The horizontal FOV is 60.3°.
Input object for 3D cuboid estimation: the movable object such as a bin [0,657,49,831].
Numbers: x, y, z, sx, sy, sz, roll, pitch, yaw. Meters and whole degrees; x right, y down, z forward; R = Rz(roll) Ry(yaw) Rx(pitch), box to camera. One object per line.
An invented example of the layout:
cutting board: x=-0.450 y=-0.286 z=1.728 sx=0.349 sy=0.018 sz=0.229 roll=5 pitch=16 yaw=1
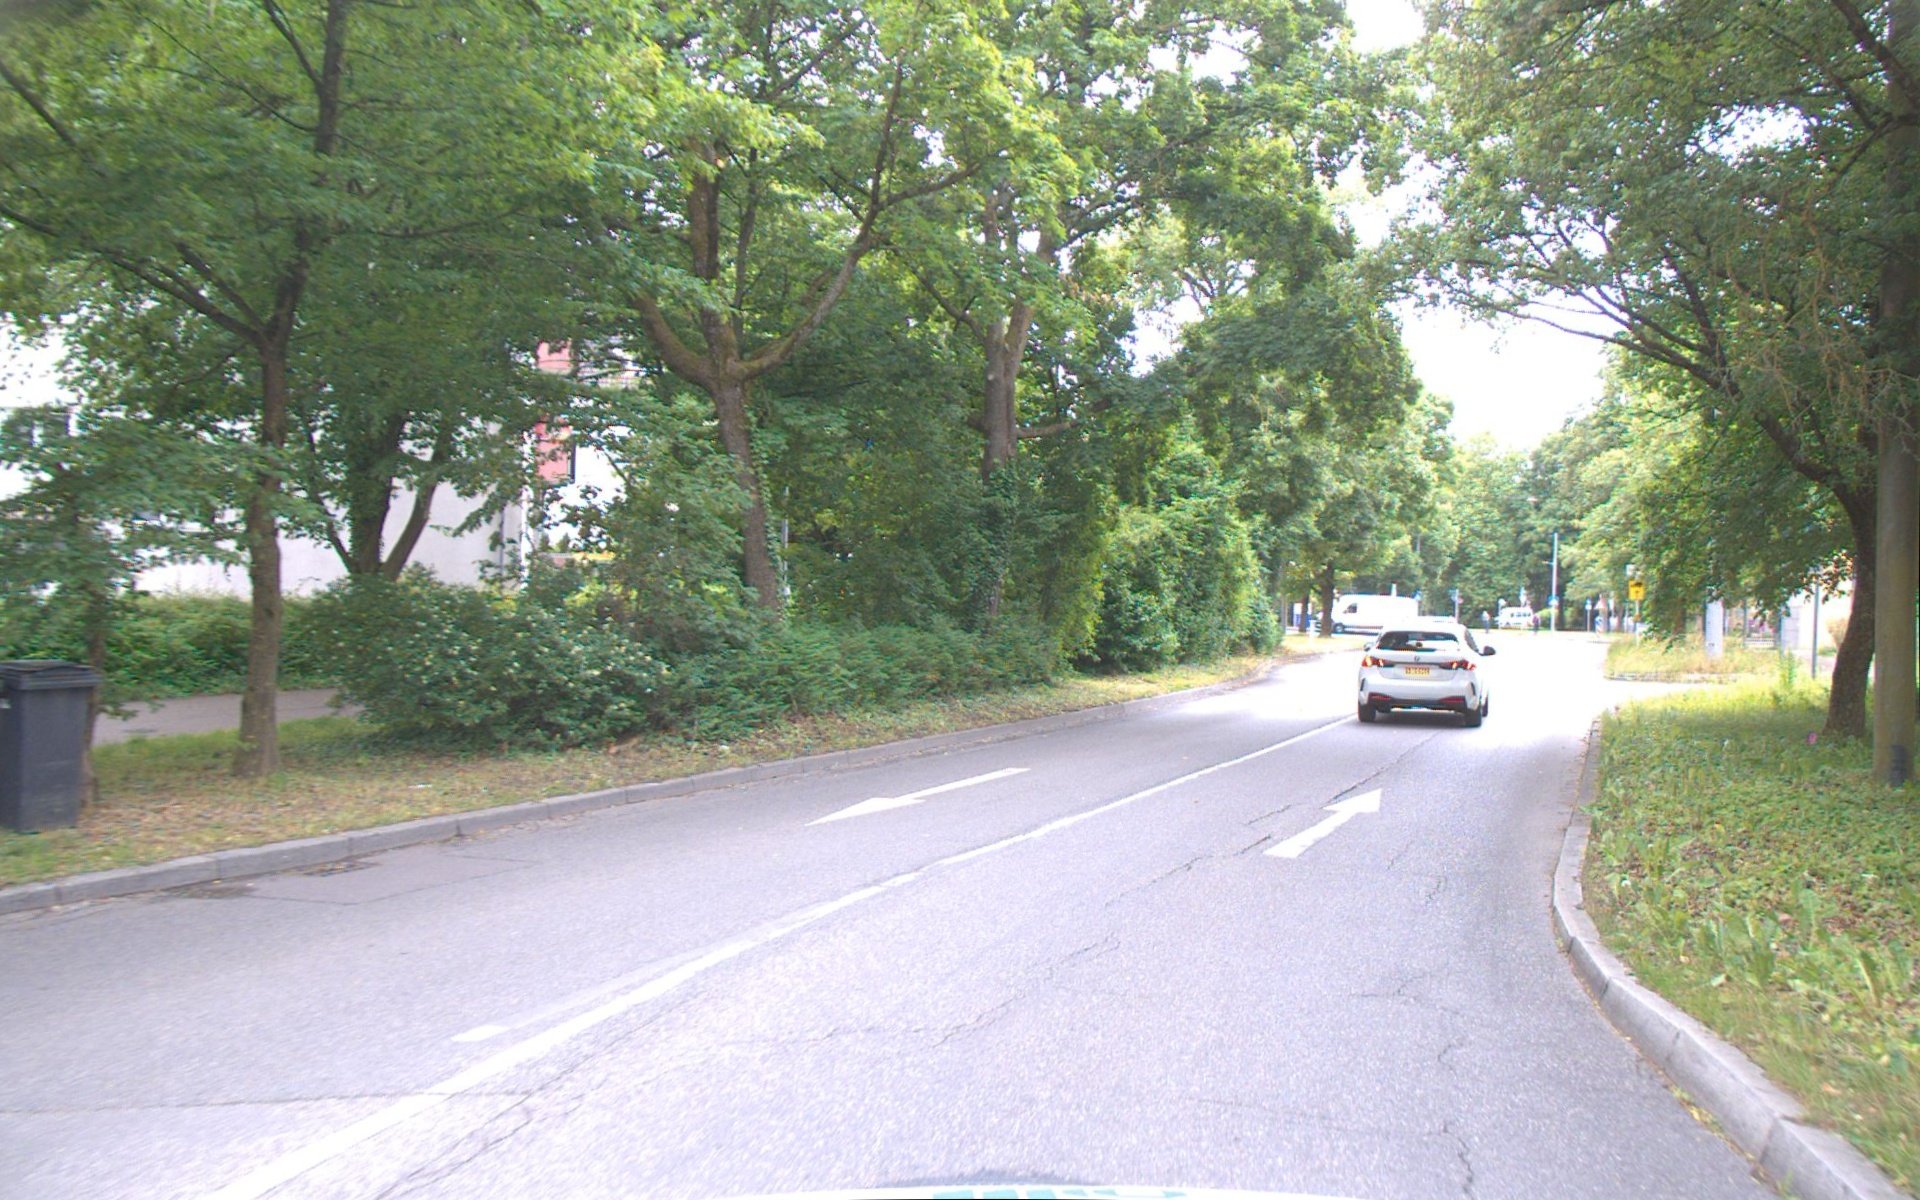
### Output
movable object such as a bin: x=-5.367 y=0.770 z=8.954 sx=0.590 sy=0.881 sz=0.574 roll=4 pitch=1 yaw=43

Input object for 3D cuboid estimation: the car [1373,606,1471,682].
car: x=10.684 y=0.978 z=38.081 sx=1.883 sy=1.601 sz=4.001 roll=1 pitch=0 yaw=20

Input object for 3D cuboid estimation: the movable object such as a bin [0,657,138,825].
movable object such as a bin: x=-5.079 y=0.778 z=9.351 sx=0.590 sy=0.859 sz=0.574 roll=4 pitch=1 yaw=43

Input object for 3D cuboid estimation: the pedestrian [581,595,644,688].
pedestrian: x=-5.992 y=0.705 z=28.553 sx=0.596 sy=1.526 sz=0.872 roll=4 pitch=1 yaw=23

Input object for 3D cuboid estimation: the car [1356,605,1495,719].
car: x=7.266 y=0.931 z=25.548 sx=1.758 sy=1.544 sz=4.207 roll=2 pitch=-1 yaw=20

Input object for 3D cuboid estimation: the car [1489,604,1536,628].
car: x=64.149 y=1.851 z=191.961 sx=5.308 sy=2.337 sz=2.118 roll=3 pitch=1 yaw=-29

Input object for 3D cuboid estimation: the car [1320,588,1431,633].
car: x=27.276 y=0.685 z=108.583 sx=6.842 sy=2.565 sz=2.077 roll=3 pitch=1 yaw=-15
